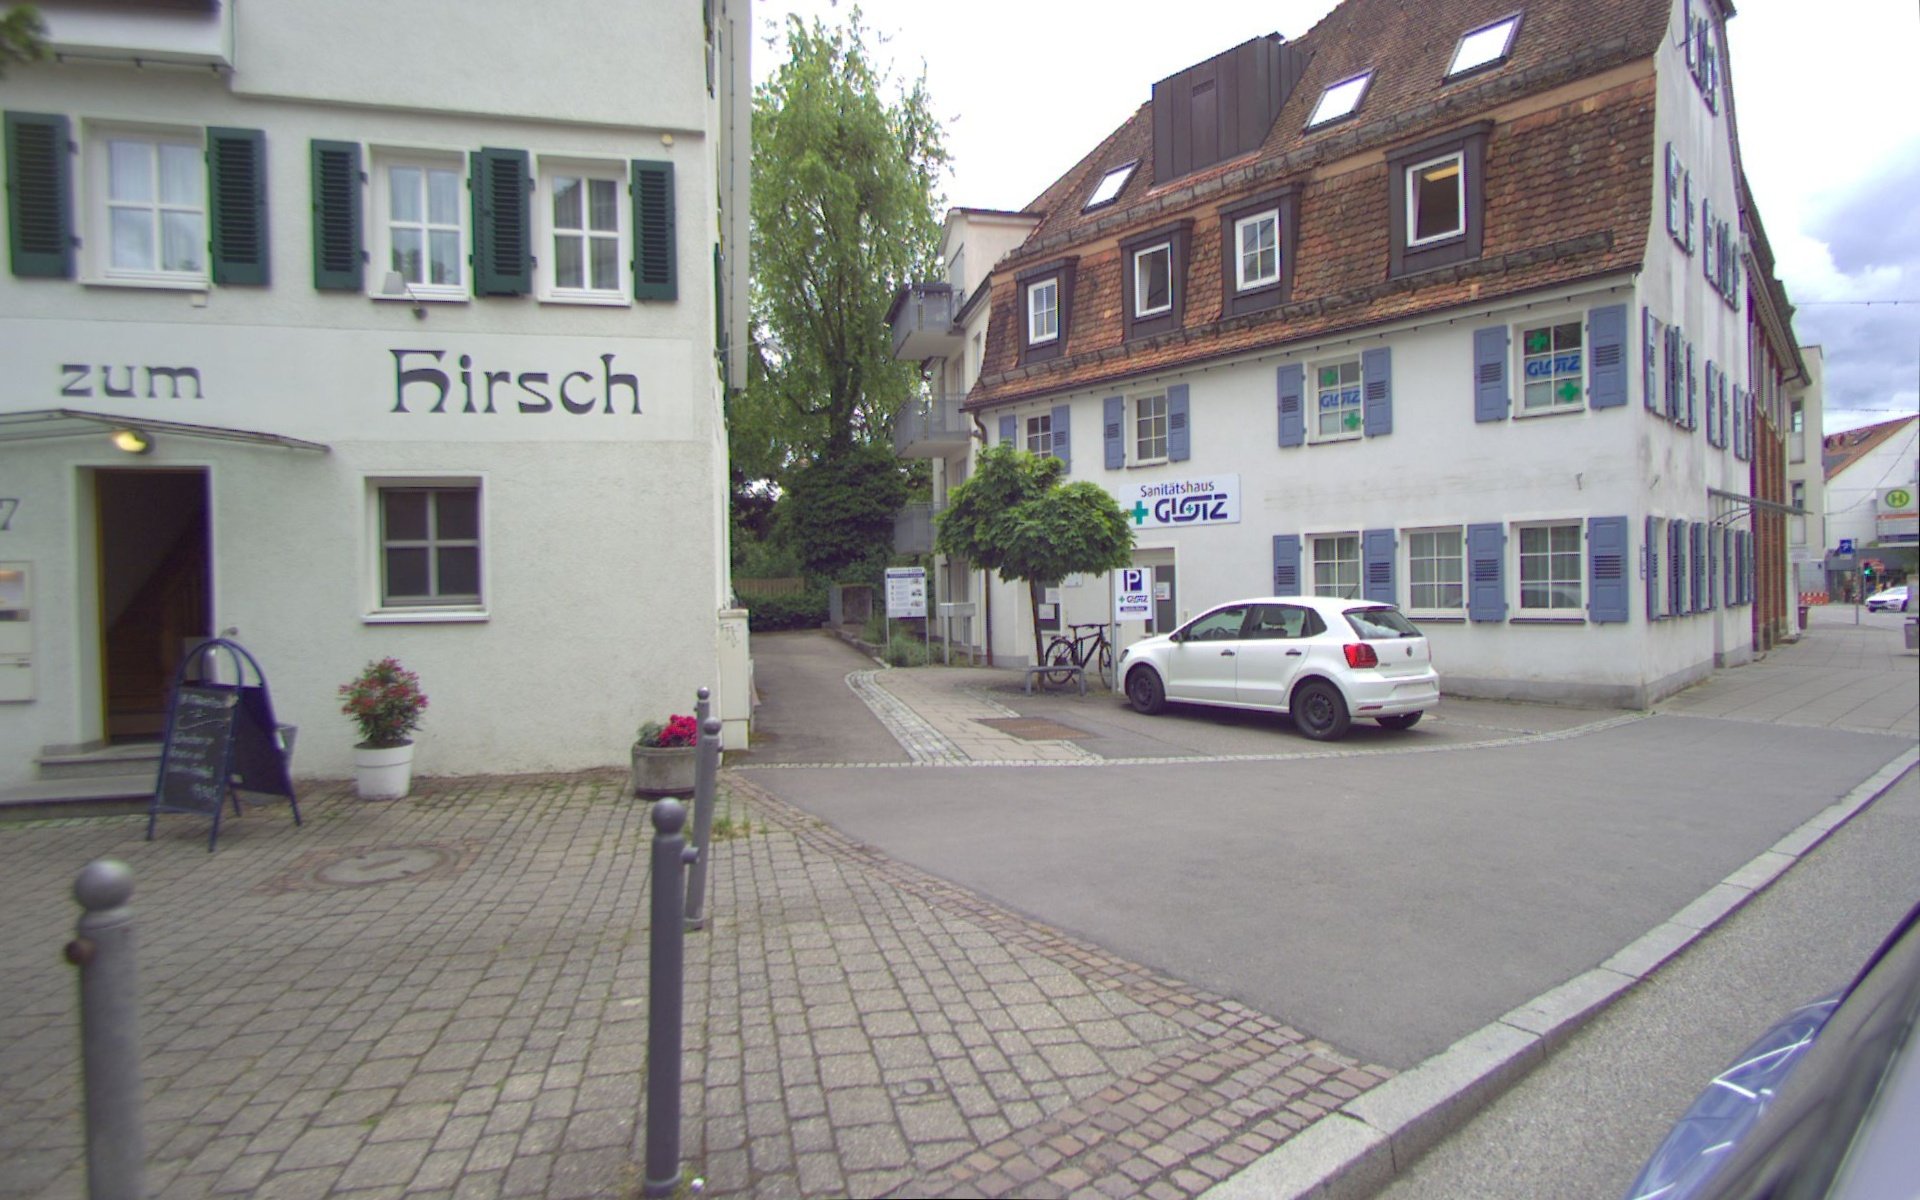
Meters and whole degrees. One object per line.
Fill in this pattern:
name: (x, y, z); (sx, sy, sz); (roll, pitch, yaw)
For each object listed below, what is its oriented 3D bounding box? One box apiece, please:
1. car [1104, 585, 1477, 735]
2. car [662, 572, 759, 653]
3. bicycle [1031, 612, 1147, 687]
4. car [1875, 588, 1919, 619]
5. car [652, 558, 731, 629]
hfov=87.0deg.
car: (3.700, 0.561, 11.887); (1.862, 1.436, 3.803); (-1, 1, -36)
car: (-5.713, 0.215, 23.005); (1.873, 1.573, 4.009); (3, 0, -15)
bicycle: (1.968, 0.730, 15.691); (0.604, 1.074, 1.916); (1, 0, -37)
car: (55.203, 0.186, 59.483); (1.995, 1.648, 3.938); (-2, 0, 43)
car: (-7.921, -0.212, 29.617); (1.958, 1.924, 4.008); (-1, 1, -18)
